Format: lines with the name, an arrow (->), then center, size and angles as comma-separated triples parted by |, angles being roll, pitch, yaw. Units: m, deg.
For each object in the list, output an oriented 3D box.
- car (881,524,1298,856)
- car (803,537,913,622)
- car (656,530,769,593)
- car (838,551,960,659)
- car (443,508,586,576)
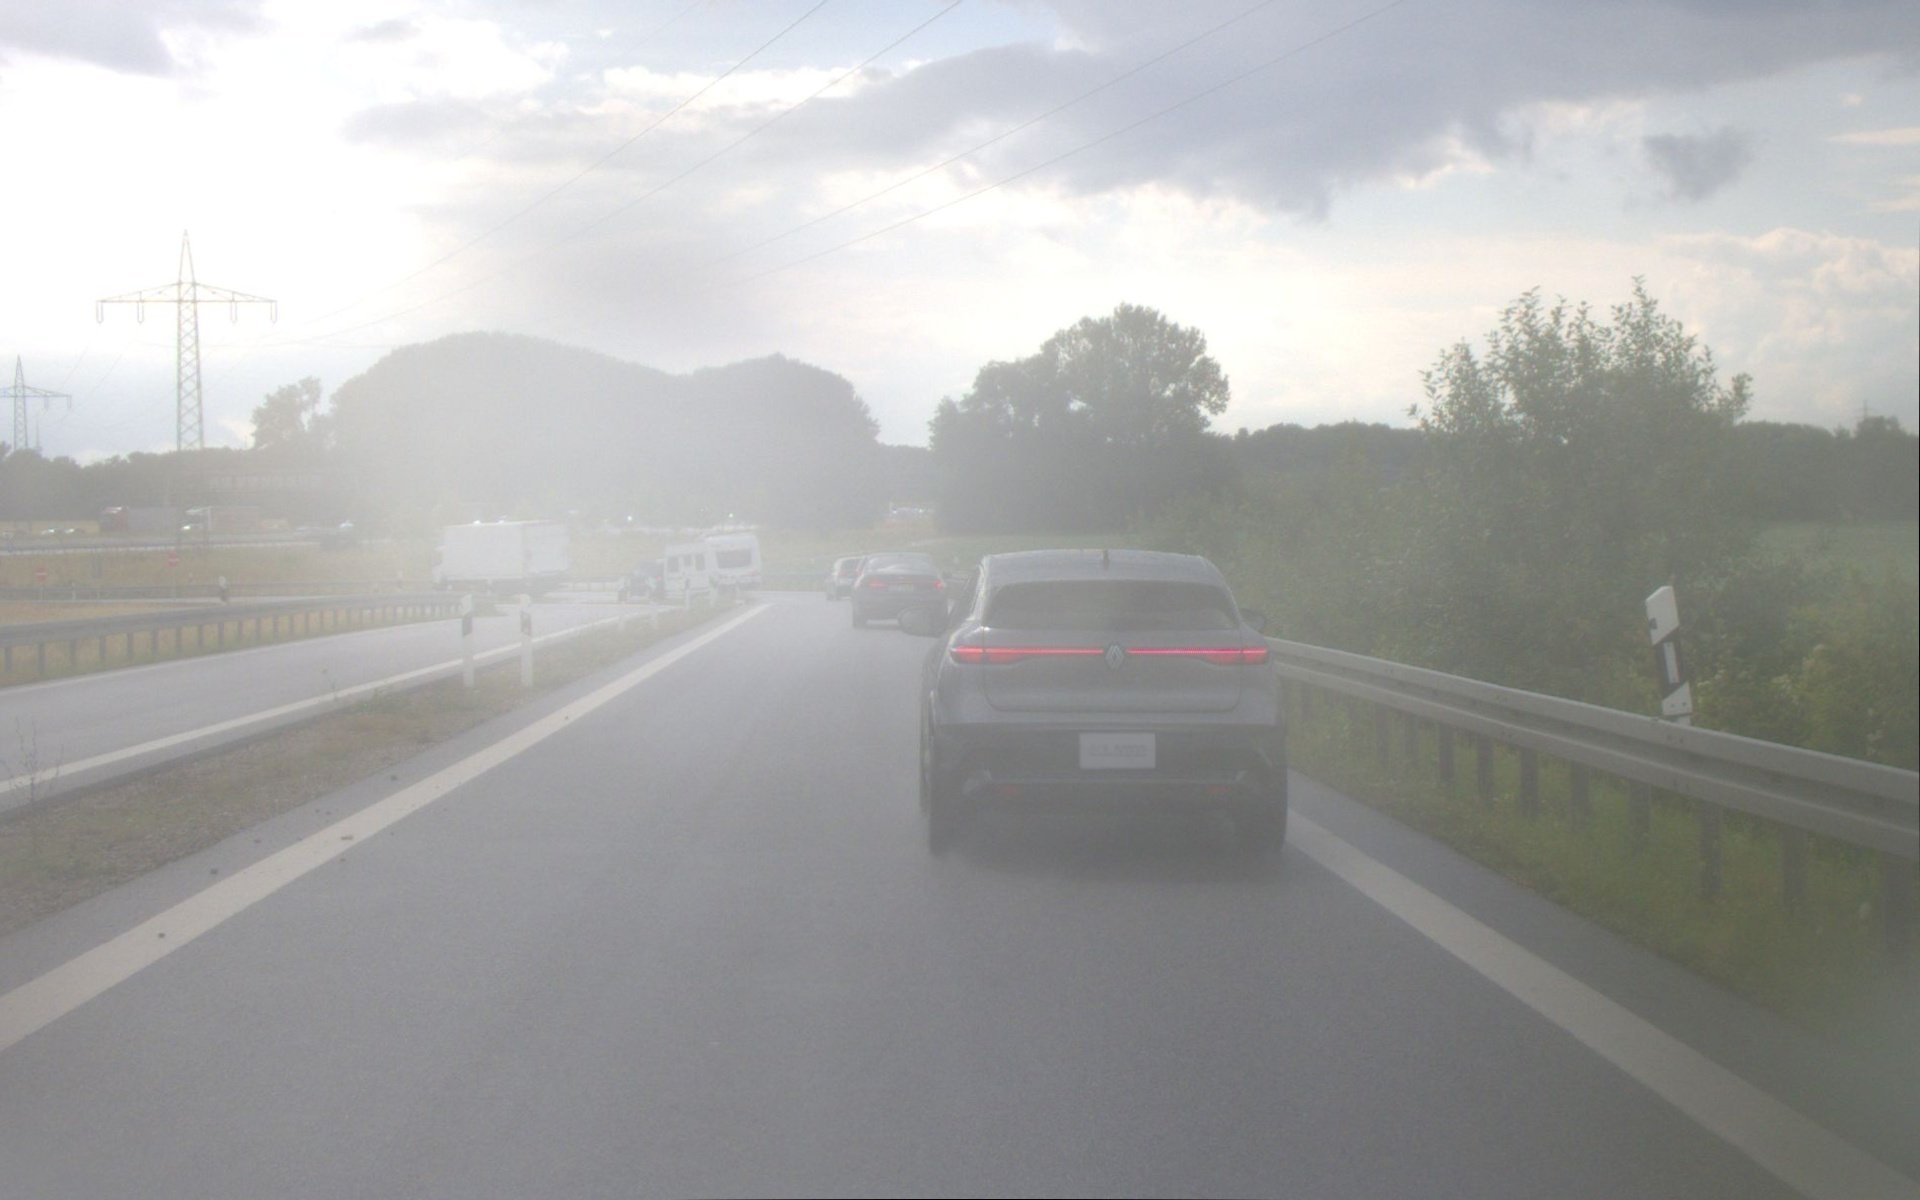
car -> 0.653, 0.387, 18.660 | 1.993, 1.561, 4.149 | 1, 2, 1
car -> -3.158, -0.657, 105.149 | 2.350, 2.299, 5.131 | -1, 3, -13
car -> -10.137, -1.606, 140.717 | 2.351, 2.299, 5.128 | -3, 4, -34
car -> -1.286, 0.059, 69.901 | 2.121, 2.011, 5.535 | -1, 1, -4
car -> -20.915, -2.757, 161.204 | 3.137, 2.941, 7.206 | -3, 4, -41
